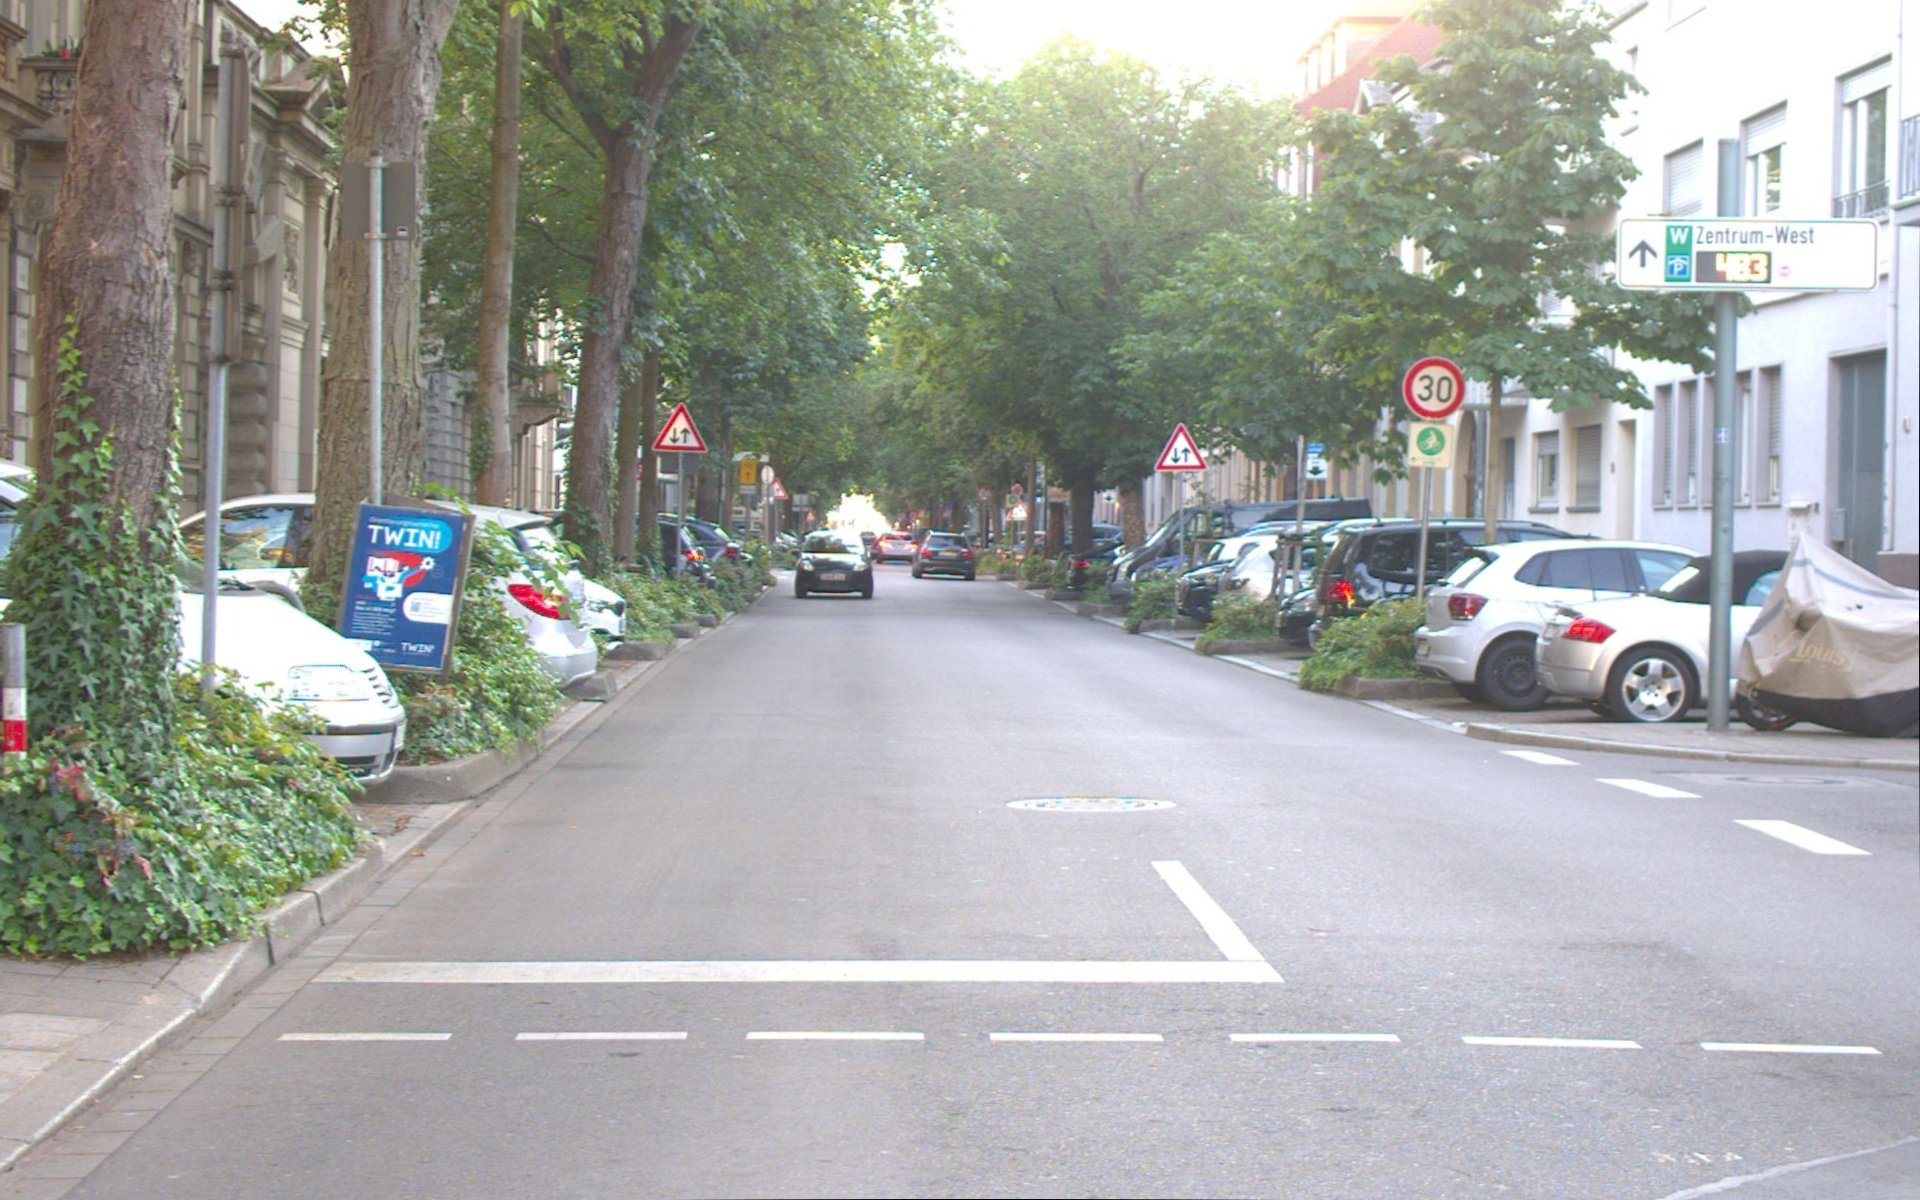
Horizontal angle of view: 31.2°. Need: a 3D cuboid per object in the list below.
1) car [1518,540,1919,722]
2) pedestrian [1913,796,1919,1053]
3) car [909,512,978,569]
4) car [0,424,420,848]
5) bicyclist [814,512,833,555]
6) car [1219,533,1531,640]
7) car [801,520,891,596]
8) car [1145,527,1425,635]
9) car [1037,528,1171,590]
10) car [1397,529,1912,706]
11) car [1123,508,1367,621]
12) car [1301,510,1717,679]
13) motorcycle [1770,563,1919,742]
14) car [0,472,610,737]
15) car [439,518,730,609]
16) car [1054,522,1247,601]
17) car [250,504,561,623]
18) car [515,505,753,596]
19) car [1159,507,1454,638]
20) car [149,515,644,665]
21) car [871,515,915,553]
[{"bbox_3d":[6.505,0.228,26.757,4.014,1.338,1.707,0,1,-1],"label":"car"},{"bbox_3d":[3.231,0.430,9.621,0.888,1.809,0.794,1,1,3],"label":"pedestrian"},{"bbox_3d":[-0.515,-1.774,101.975,1.825,1.556,4.028,2,1,-3],"label":"car"},{"bbox_3d":[-4.851,0.125,15.750,4.547,1.828,1.833,1,1,-4],"label":"car"},{"bbox_3d":[-4.678,-2.279,117.755,0.571,1.465,0.643,2,0,-7],"label":"bicyclist"},{"bbox_3d":[5.646,-0.200,47.063,4.014,1.404,1.707,0,1,-1],"label":"car"},{"bbox_3d":[-2.539,-0.951,76.611,1.904,1.572,3.992,2,1,-2],"label":"car"},{"bbox_3d":[4.902,-0.296,52.209,4.014,1.525,1.707,1,1,-1],"label":"car"},{"bbox_3d":[4.469,-1.298,107.181,4.014,1.824,1.707,1,1,-1],"label":"car"},{"bbox_3d":[5.872,0.130,29.386,4.014,1.437,1.707,0,1,-1],"label":"car"},{"bbox_3d":[4.904,-0.624,59.489,4.014,1.824,1.707,1,1,-1],"label":"car"},{"bbox_3d":[5.676,-0.075,35.821,4.014,1.684,1.707,0,1,-1],"label":"car"},{"bbox_3d":[6.516,0.358,23.576,1.800,1.195,0.613,1,1,8],"label":"motorcycle"},{"bbox_3d":[-4.736,0.005,23.306,4.547,1.683,1.833,1,1,-1],"label":"car"},{"bbox_3d":[-6.085,-0.605,56.089,4.547,1.405,1.833,1,1,-1],"label":"car"},{"bbox_3d":[4.103,-0.841,74.469,4.014,1.596,1.707,1,1,-1],"label":"car"},{"bbox_3d":[-7.669,-0.517,47.817,4.038,1.584,1.833,1,1,-1],"label":"car"},{"bbox_3d":[-6.454,-0.984,68.429,4.547,1.686,1.833,1,1,-1],"label":"car"},{"bbox_3d":[4.934,-0.402,49.349,4.014,1.809,1.707,0,1,-1],"label":"car"},{"bbox_3d":[-5.438,-0.113,33.585,4.547,1.367,1.833,1,1,-1],"label":"car"},{"bbox_3d":[-3.032,-2.992,154.748,1.924,1.654,4.001,1,1,-2],"label":"car"}]
